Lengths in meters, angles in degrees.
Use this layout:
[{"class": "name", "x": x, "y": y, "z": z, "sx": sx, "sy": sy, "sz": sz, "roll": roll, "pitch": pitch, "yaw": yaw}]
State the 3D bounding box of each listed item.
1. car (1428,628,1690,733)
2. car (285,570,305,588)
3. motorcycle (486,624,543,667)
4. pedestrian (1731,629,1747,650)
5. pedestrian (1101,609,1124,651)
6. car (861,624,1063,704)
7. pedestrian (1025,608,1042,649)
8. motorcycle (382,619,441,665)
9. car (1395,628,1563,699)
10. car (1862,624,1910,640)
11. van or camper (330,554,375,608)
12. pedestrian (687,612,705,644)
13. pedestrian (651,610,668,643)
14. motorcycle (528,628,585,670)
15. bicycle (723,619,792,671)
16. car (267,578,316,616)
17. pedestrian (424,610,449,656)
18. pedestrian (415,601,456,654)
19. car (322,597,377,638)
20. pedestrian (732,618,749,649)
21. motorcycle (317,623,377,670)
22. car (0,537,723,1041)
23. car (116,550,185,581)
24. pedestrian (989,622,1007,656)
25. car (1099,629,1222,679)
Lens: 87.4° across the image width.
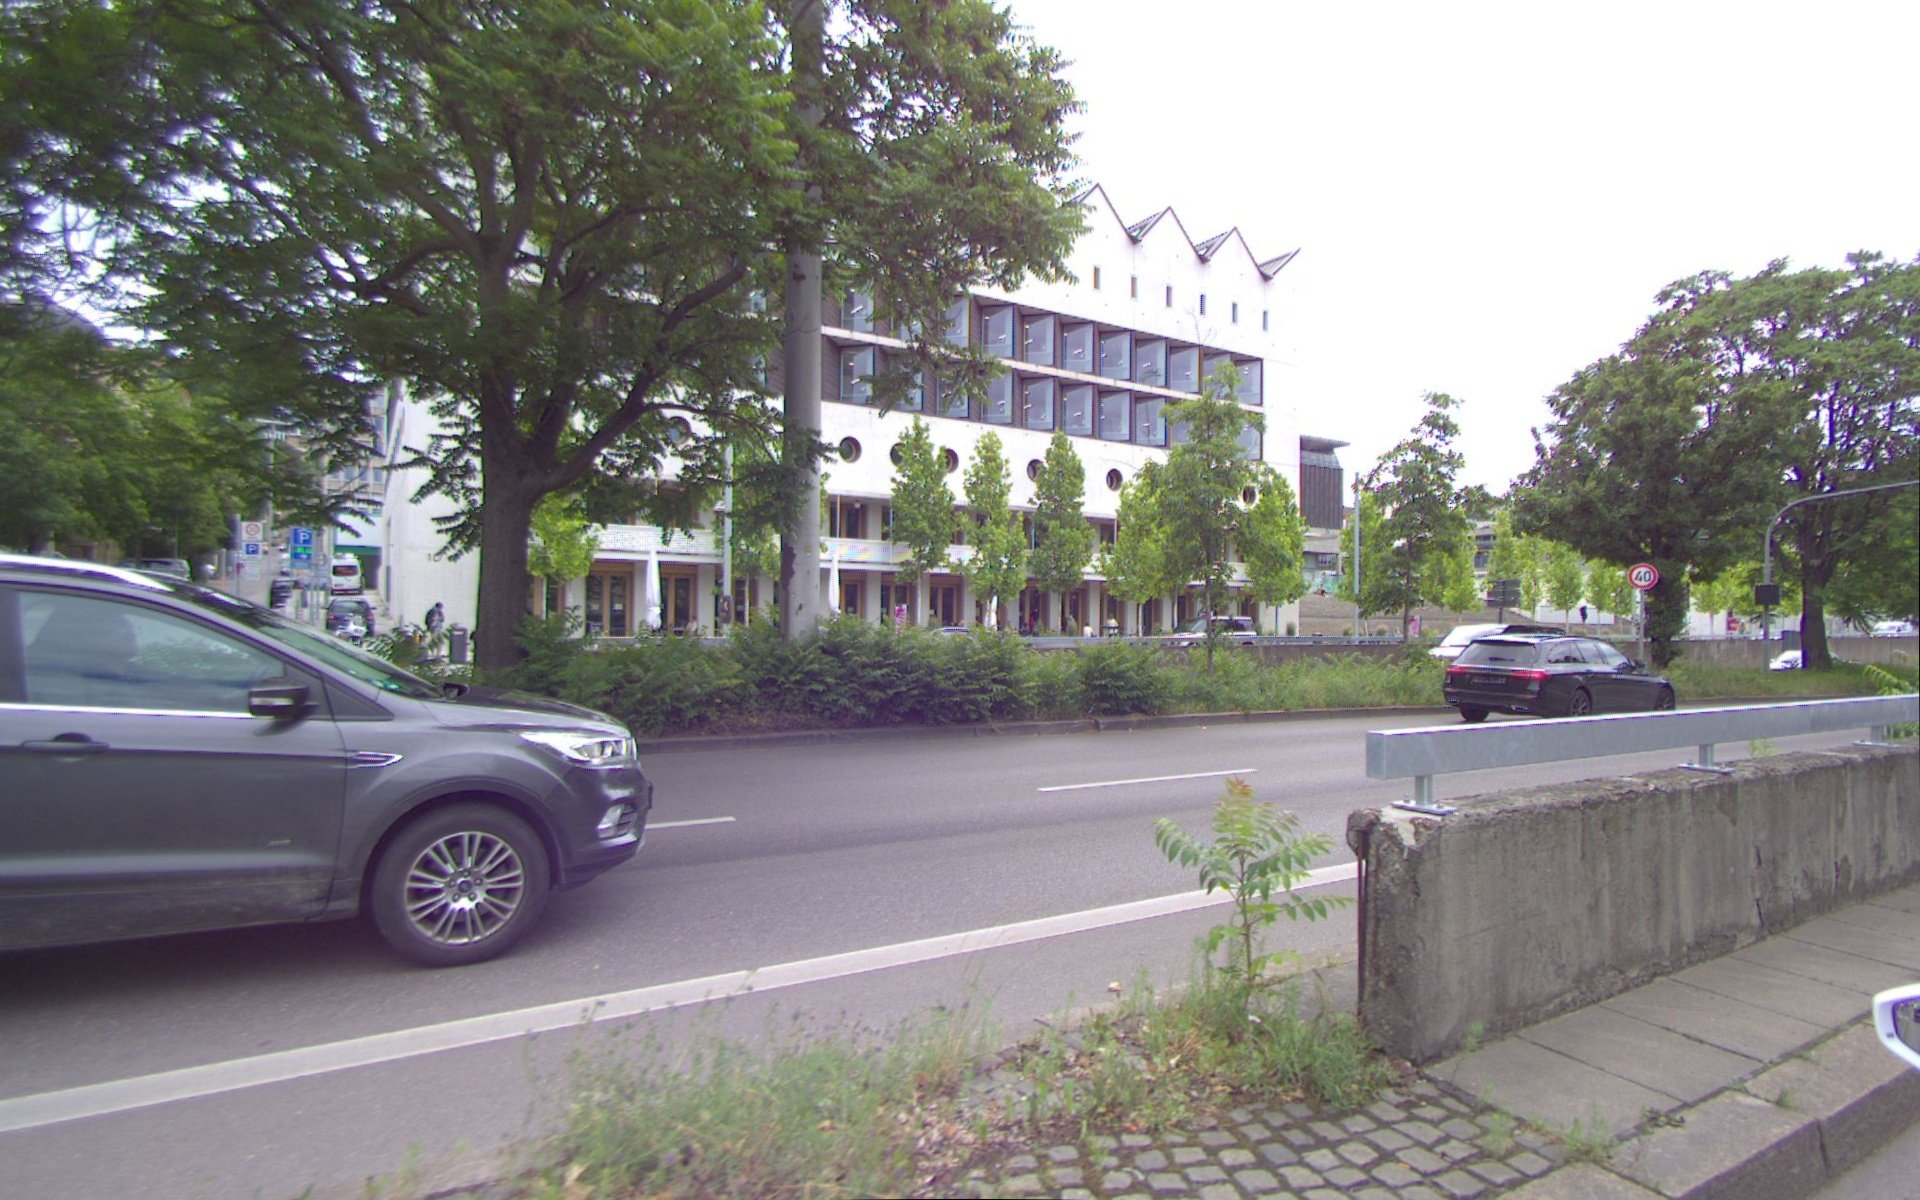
[{"class": "car", "x": 10.145, "y": 1.306, "z": 16.903, "sx": 4.810, "sy": 1.479, "sz": 1.802, "roll": 3, "pitch": 0, "yaw": -32}, {"class": "car", "x": -83.886, "y": -2.625, "z": 126.707, "sx": 1.978, "sy": 2.040, "sz": 3.965, "roll": 1, "pitch": -2, "yaw": -32}, {"class": "motorcycle", "x": -13.488, "y": 1.377, "z": 30.401, "sx": 1.858, "sy": 1.249, "sz": 0.657, "roll": 0, "pitch": -4, "yaw": 35}, {"class": "pedestrian", "x": 62.639, "y": 3.144, "z": 80.744, "sx": 0.994, "sy": 1.662, "sz": 0.731, "roll": 1, "pitch": -1, "yaw": -32}, {"class": "pedestrian", "x": 7.618, "y": 1.507, "z": 50.145, "sx": 0.731, "sy": 2.037, "sz": 0.707, "roll": 3, "pitch": -10, "yaw": -33}, {"class": "car", "x": 0.065, "y": 1.349, "z": 21.428, "sx": 3.955, "sy": 1.481, "sz": 1.746, "roll": 2, "pitch": 0, "yaw": -31}, {"class": "pedestrian", "x": 3.708, "y": 1.457, "z": 50.994, "sx": 0.623, "sy": 2.039, "sz": 0.629, "roll": 2, "pitch": -4, "yaw": -30}, {"class": "motorcycle", "x": -15.584, "y": 1.188, "z": 28.520, "sx": 1.858, "sy": 1.249, "sz": 0.657, "roll": 0, "pitch": -4, "yaw": 35}, {"class": "car", "x": 13.768, "y": 1.639, "z": 26.588, "sx": 4.391, "sy": 1.740, "sz": 1.849, "roll": 2, "pitch": -2, "yaw": -29}, {"class": "car", "x": 77.411, "y": 2.669, "z": 83.970, "sx": 4.756, "sy": 1.133, "sz": 1.799, "roll": 2, "pitch": 0, "yaw": -33}, {"class": "van or camper", "x": -41.123, "y": -1.282, "z": 68.010, "sx": 2.370, "sy": 3.391, "sz": 6.278, "roll": 2, "pitch": 1, "yaw": -31}, {"class": "pedestrian", "x": -11.259, "y": 1.187, "z": 42.833, "sx": 0.559, "sy": 1.344, "sz": 0.516, "roll": 3, "pitch": -3, "yaw": -31}, {"class": "pedestrian", "x": -12.577, "y": 1.115, "z": 42.031, "sx": 0.559, "sy": 1.344, "sz": 0.516, "roll": 3, "pitch": -3, "yaw": -31}, {"class": "motorcycle", "x": -12.490, "y": 1.512, "z": 31.086, "sx": 1.858, "sy": 1.249, "sz": 0.657, "roll": 0, "pitch": -4, "yaw": 35}, {"class": "bicycle", "x": -7.096, "y": 1.537, "z": 34.979, "sx": 1.170, "sy": 1.706, "sz": 3.594, "roll": 1, "pitch": -2, "yaw": -32}, {"class": "car", "x": -37.764, "y": -0.203, "z": 56.817, "sx": 1.977, "sy": 1.874, "sz": 3.967, "roll": 2, "pitch": 1, "yaw": -30}, {"class": "pedestrian", "x": -18.796, "y": 1.173, "z": 36.087, "sx": 0.751, "sy": 1.589, "sz": 1.095, "roll": 2, "pitch": 1, "yaw": -27}, {"class": "pedestrian", "x": -15.655, "y": 0.816, "z": 29.990, "sx": 0.865, "sy": 1.577, "sz": 0.598, "roll": 0, "pitch": -1, "yaw": 17}, {"class": "car", "x": -23.873, "y": 0.658, "z": 39.378, "sx": 1.731, "sy": 1.293, "sz": 3.966, "roll": 2, "pitch": 1, "yaw": -30}, {"class": "pedestrian", "x": -9.633, "y": 1.485, "z": 44.142, "sx": 0.559, "sy": 1.344, "sz": 0.516, "roll": 3, "pitch": -3, "yaw": -31}, {"class": "motorcycle", "x": -16.859, "y": 1.276, "z": 27.623, "sx": 1.858, "sy": 1.249, "sz": 0.657, "roll": 0, "pitch": -4, "yaw": 35}, {"class": "car", "x": -3.581, "y": 0.651, "z": 4.394, "sx": 4.604, "sy": 1.738, "sz": 1.884, "roll": 1, "pitch": 0, "yaw": -31}, {"class": "car", "x": -58.319, "y": -2.440, "z": 72.426, "sx": 3.639, "sy": 2.040, "sz": 1.577, "roll": 2, "pitch": -1, "yaw": -29}, {"class": "pedestrian", "x": 1.893, "y": 1.950, "z": 49.916, "sx": 0.623, "sy": 1.655, "sz": 0.629, "roll": 2, "pitch": -1, "yaw": -30}, {"class": "car", "x": 7.435, "y": 1.976, "z": 37.195, "sx": 4.394, "sy": 1.740, "sz": 1.848, "roll": 2, "pitch": -2, "yaw": -30}]
